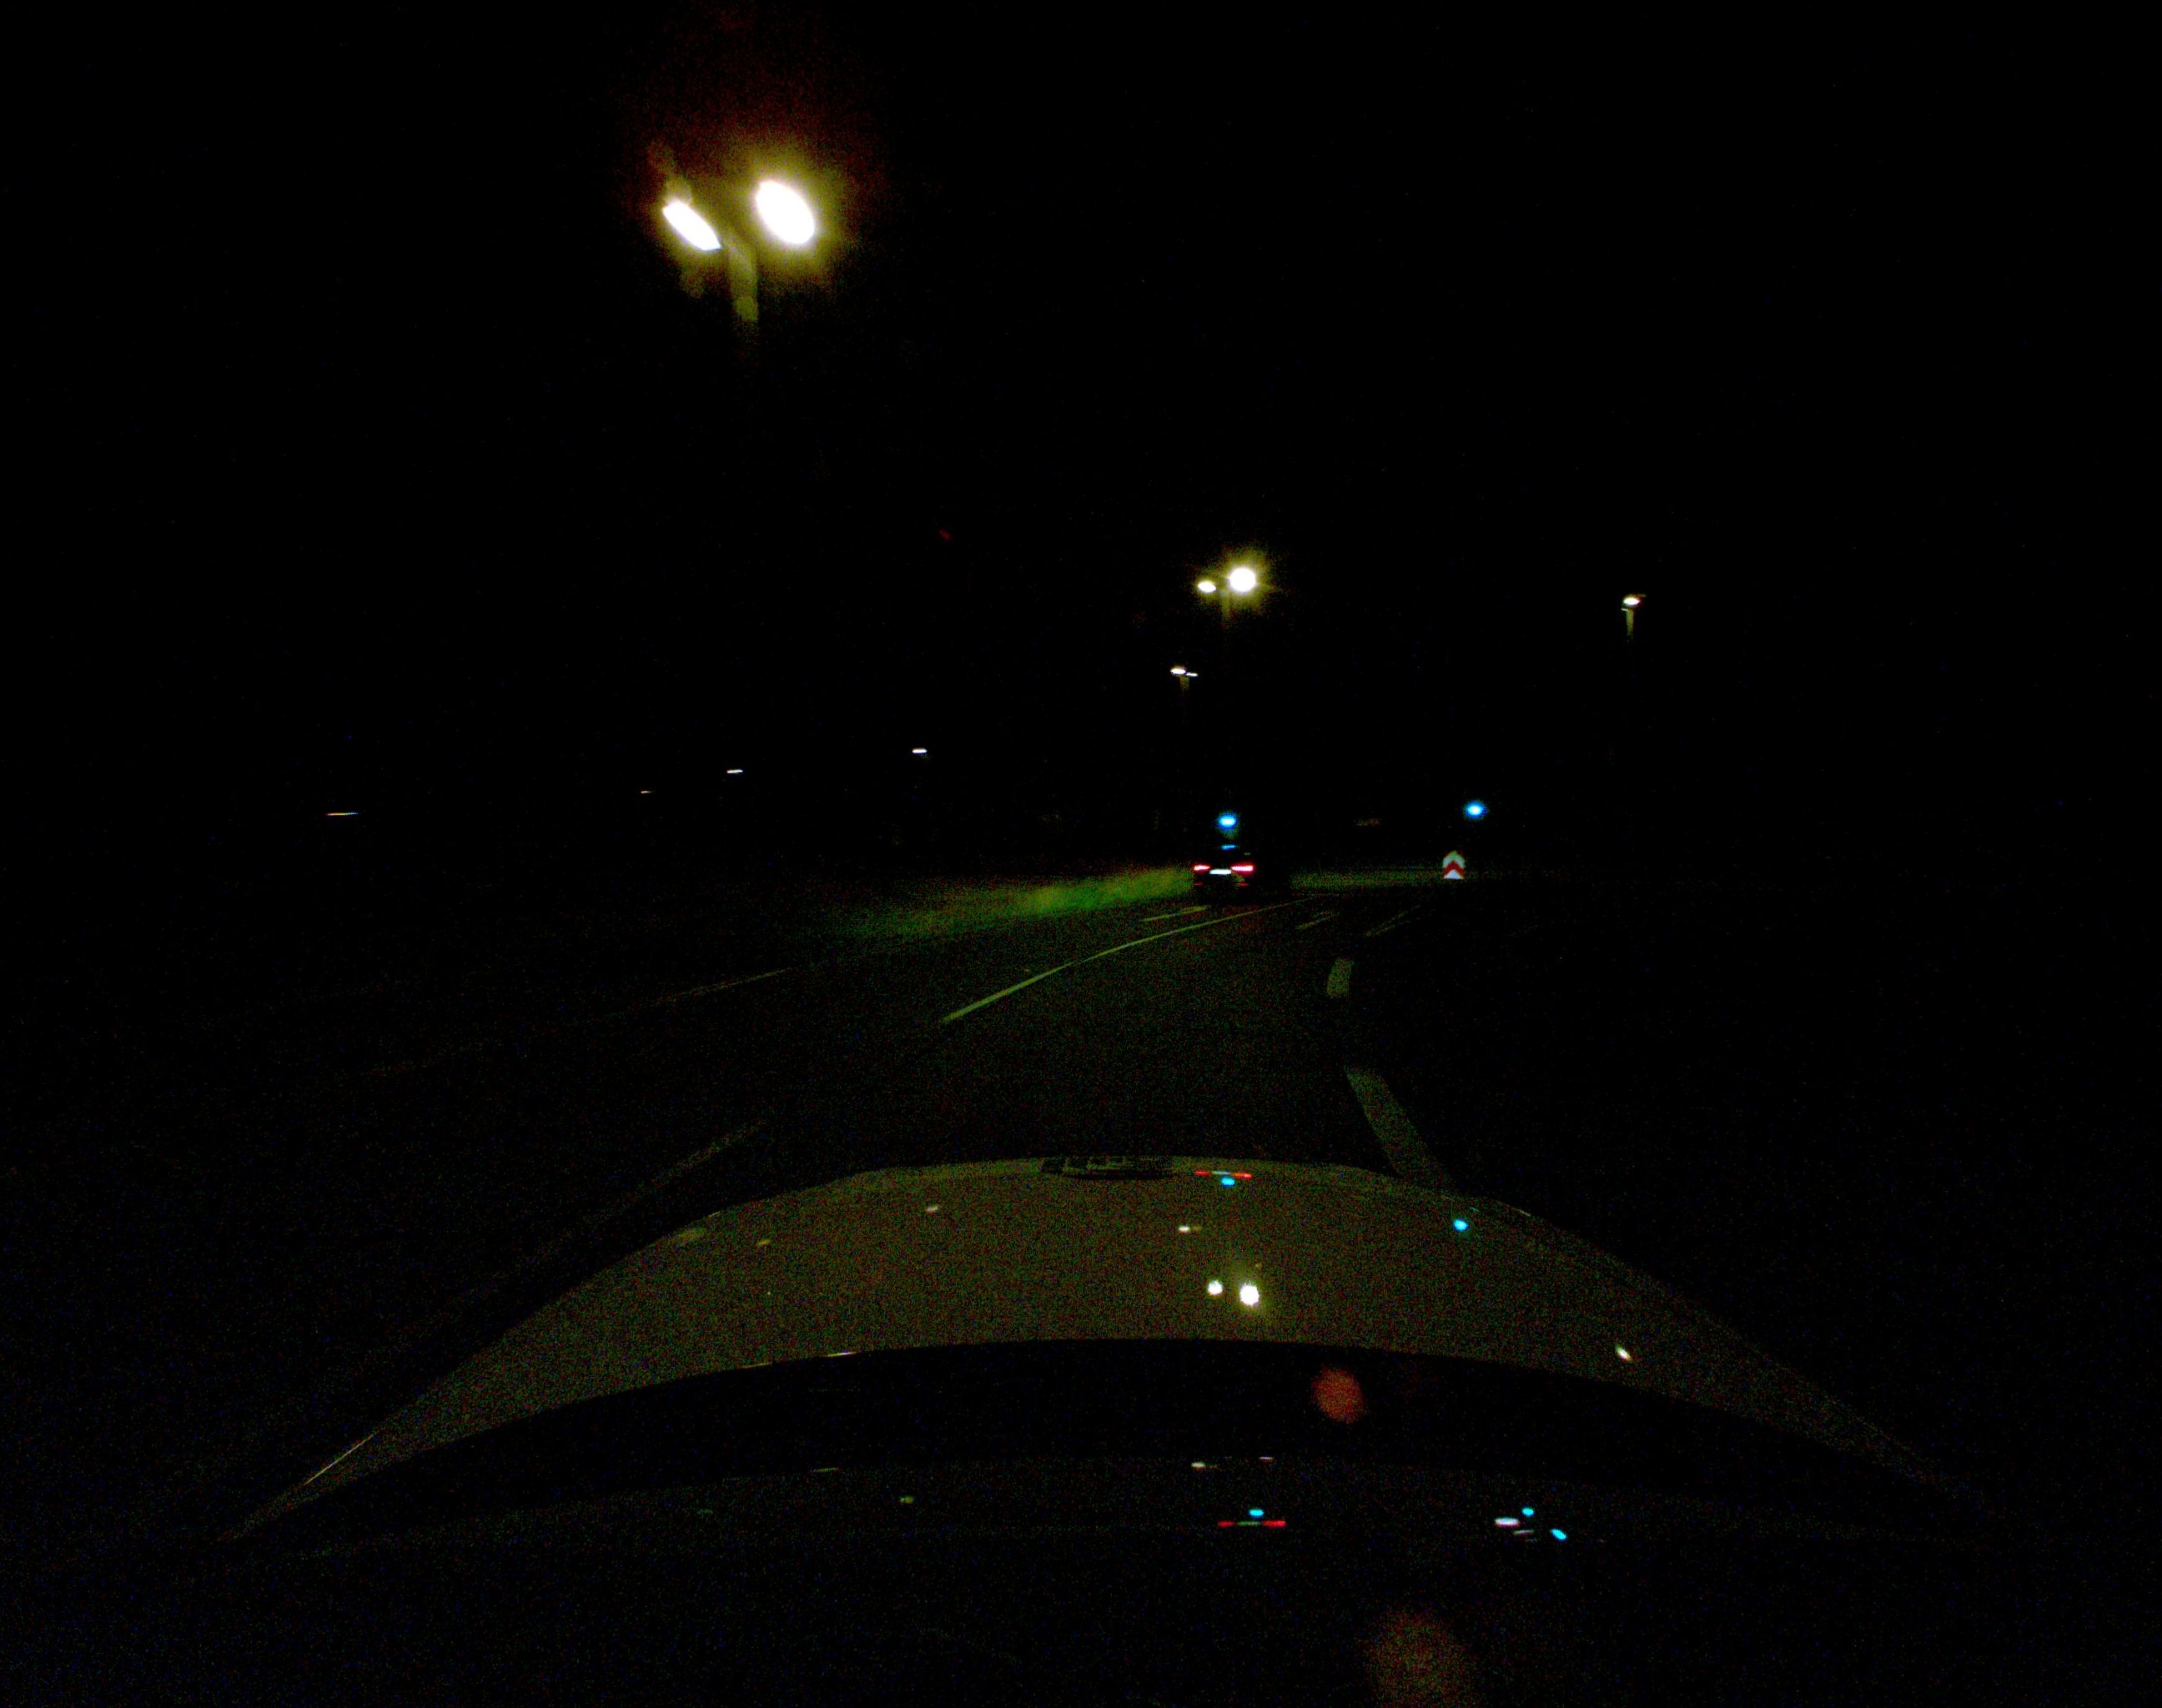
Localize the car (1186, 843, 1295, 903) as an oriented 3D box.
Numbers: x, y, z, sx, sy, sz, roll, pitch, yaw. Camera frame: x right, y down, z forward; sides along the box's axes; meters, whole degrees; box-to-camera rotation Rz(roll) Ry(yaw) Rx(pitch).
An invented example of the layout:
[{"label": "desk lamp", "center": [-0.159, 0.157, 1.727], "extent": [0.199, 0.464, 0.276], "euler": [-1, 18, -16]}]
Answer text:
[{"label": "car", "center": [4.794, 0.479, 24.015], "extent": [1.834, 1.582, 4.032], "euler": [0, 1, 32]}]
